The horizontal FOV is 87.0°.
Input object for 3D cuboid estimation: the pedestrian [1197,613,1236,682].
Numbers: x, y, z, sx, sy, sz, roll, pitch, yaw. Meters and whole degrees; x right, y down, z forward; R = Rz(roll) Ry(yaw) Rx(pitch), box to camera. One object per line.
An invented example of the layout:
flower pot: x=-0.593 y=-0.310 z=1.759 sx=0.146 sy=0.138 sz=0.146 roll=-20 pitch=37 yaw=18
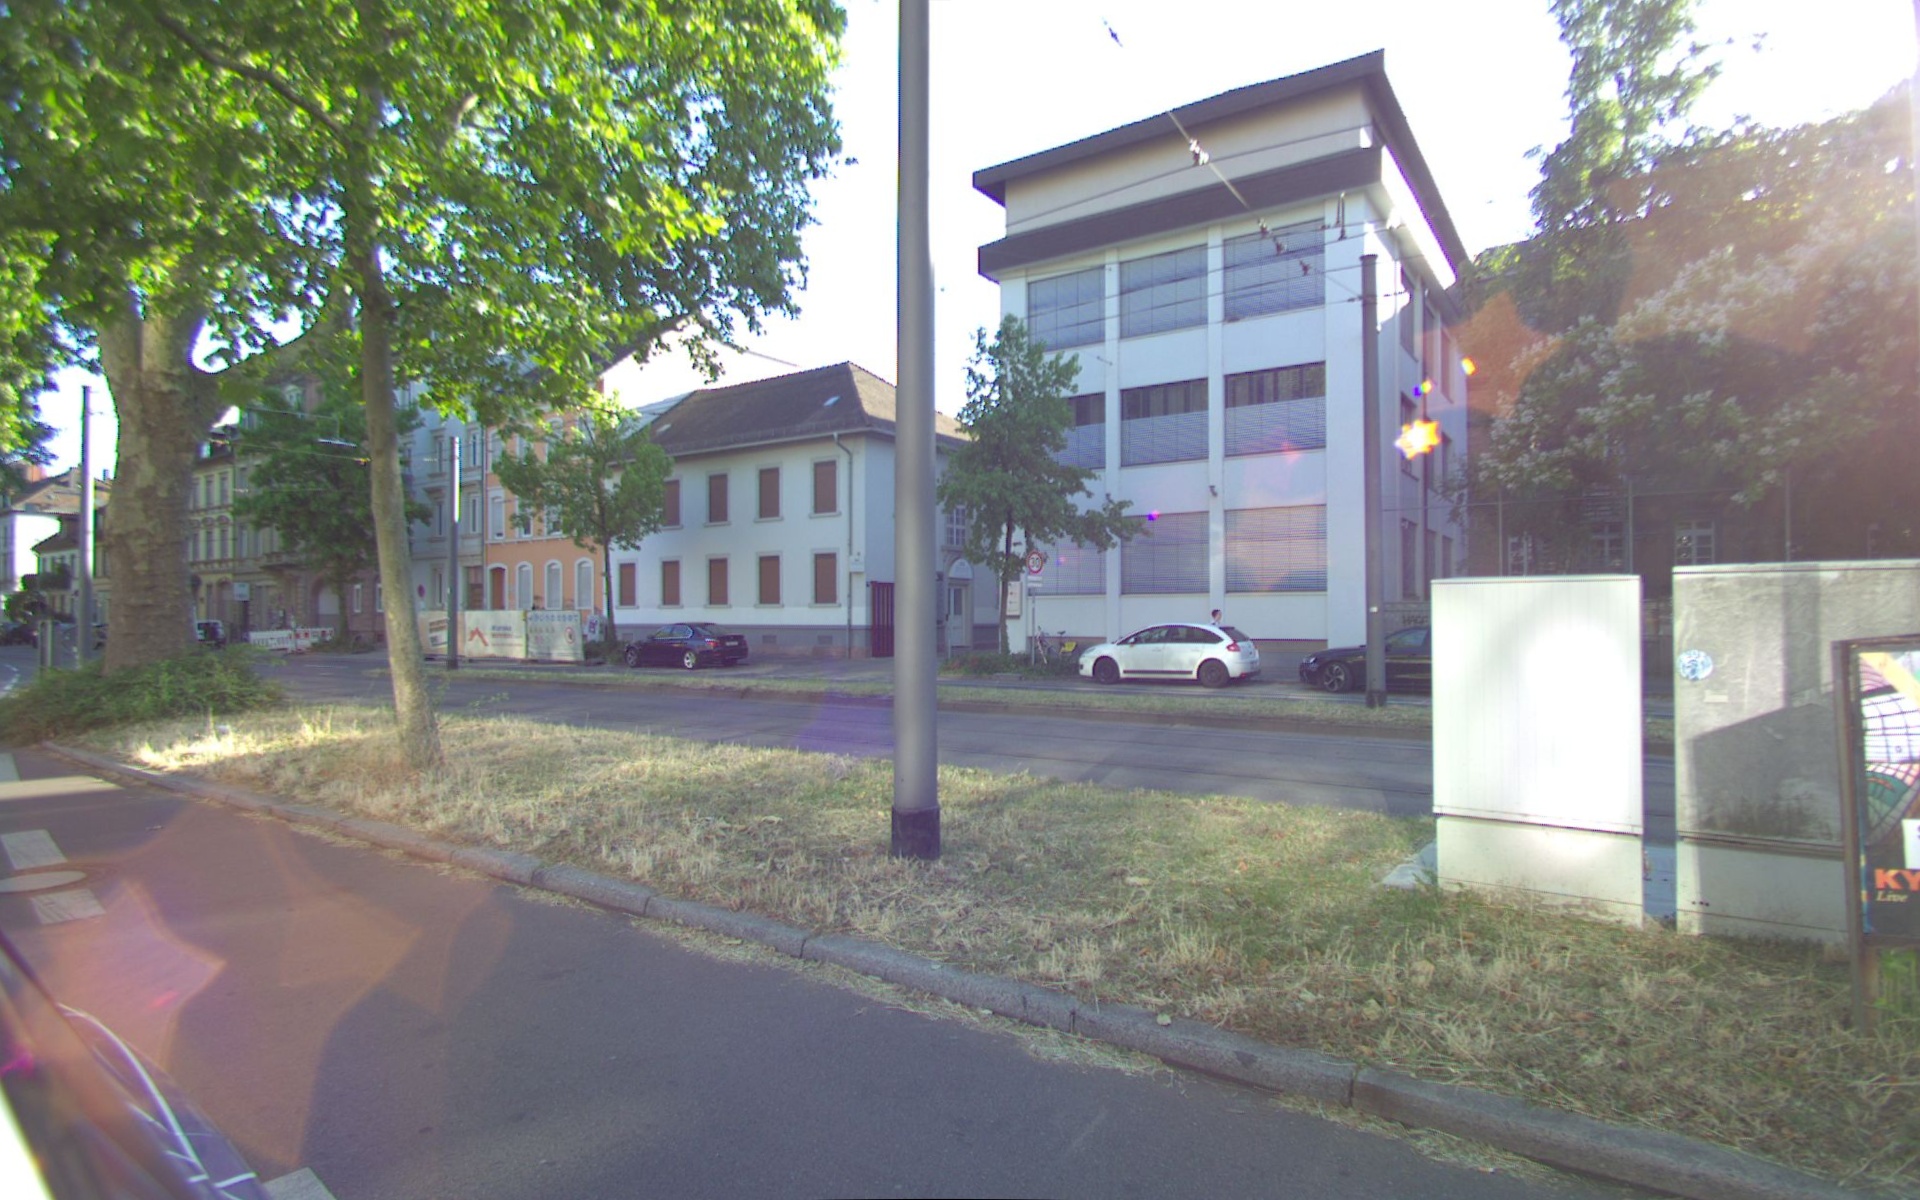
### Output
pedestrian: x=6.284 y=1.148 z=24.777 sx=0.730 sy=1.633 sz=0.629 roll=-1 pitch=-1 yaw=35

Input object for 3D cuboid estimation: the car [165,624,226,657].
car: x=-42.523 y=2.245 z=56.285 sx=3.360 sy=1.718 sz=1.618 roll=-1 pitch=1 yaw=32

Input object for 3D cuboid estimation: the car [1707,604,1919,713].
car: x=15.190 y=0.947 z=16.929 sx=4.166 sy=1.702 sz=1.977 roll=-1 pitch=-2 yaw=34

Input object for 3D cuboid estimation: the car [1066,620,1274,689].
car: x=4.908 y=1.237 z=23.885 sx=4.393 sy=1.482 sz=1.977 roll=-1 pitch=-2 yaw=34

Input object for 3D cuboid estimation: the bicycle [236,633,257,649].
bicycle: x=-43.532 y=2.502 z=61.747 sx=1.789 sy=0.931 sz=0.573 roll=-1 pitch=-2 yaw=38

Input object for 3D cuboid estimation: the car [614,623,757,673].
car: x=-9.048 y=1.543 z=33.188 sx=4.713 sy=1.525 sz=1.977 roll=-1 pitch=-2 yaw=35

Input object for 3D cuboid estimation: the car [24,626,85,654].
car: x=-62.028 y=2.740 z=69.301 sx=4.738 sy=1.715 sz=1.977 roll=-1 pitch=2 yaw=34

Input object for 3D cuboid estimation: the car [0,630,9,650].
car: x=-75.661 y=3.145 z=78.677 sx=4.393 sy=1.465 sz=1.649 roll=-1 pitch=1 yaw=35

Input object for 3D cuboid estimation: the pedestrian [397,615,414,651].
pedestrian: x=-27.816 y=1.651 z=50.739 sx=0.480 sy=1.832 sz=0.593 roll=-1 pitch=-2 yaw=35

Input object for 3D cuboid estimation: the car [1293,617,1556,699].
car: x=9.421 y=1.119 z=20.656 sx=4.637 sy=1.487 sz=1.977 roll=-1 pitch=-2 yaw=34

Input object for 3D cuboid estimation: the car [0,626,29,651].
car: x=-71.910 y=2.888 z=76.392 sx=3.618 sy=1.759 sz=1.709 roll=-1 pitch=2 yaw=36

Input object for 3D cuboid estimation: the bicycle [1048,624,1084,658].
bicycle: x=3.160 y=1.227 z=30.198 sx=1.016 sy=1.010 sz=0.300 roll=-1 pitch=-2 yaw=34

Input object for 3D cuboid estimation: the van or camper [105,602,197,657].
van or camper: x=-47.857 y=1.743 z=59.810 sx=7.237 sy=2.969 sz=2.398 roll=-1 pitch=2 yaw=37

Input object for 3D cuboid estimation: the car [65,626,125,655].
car: x=-55.642 y=2.605 z=65.101 sx=4.432 sy=1.718 sz=1.796 roll=-1 pitch=2 yaw=34
